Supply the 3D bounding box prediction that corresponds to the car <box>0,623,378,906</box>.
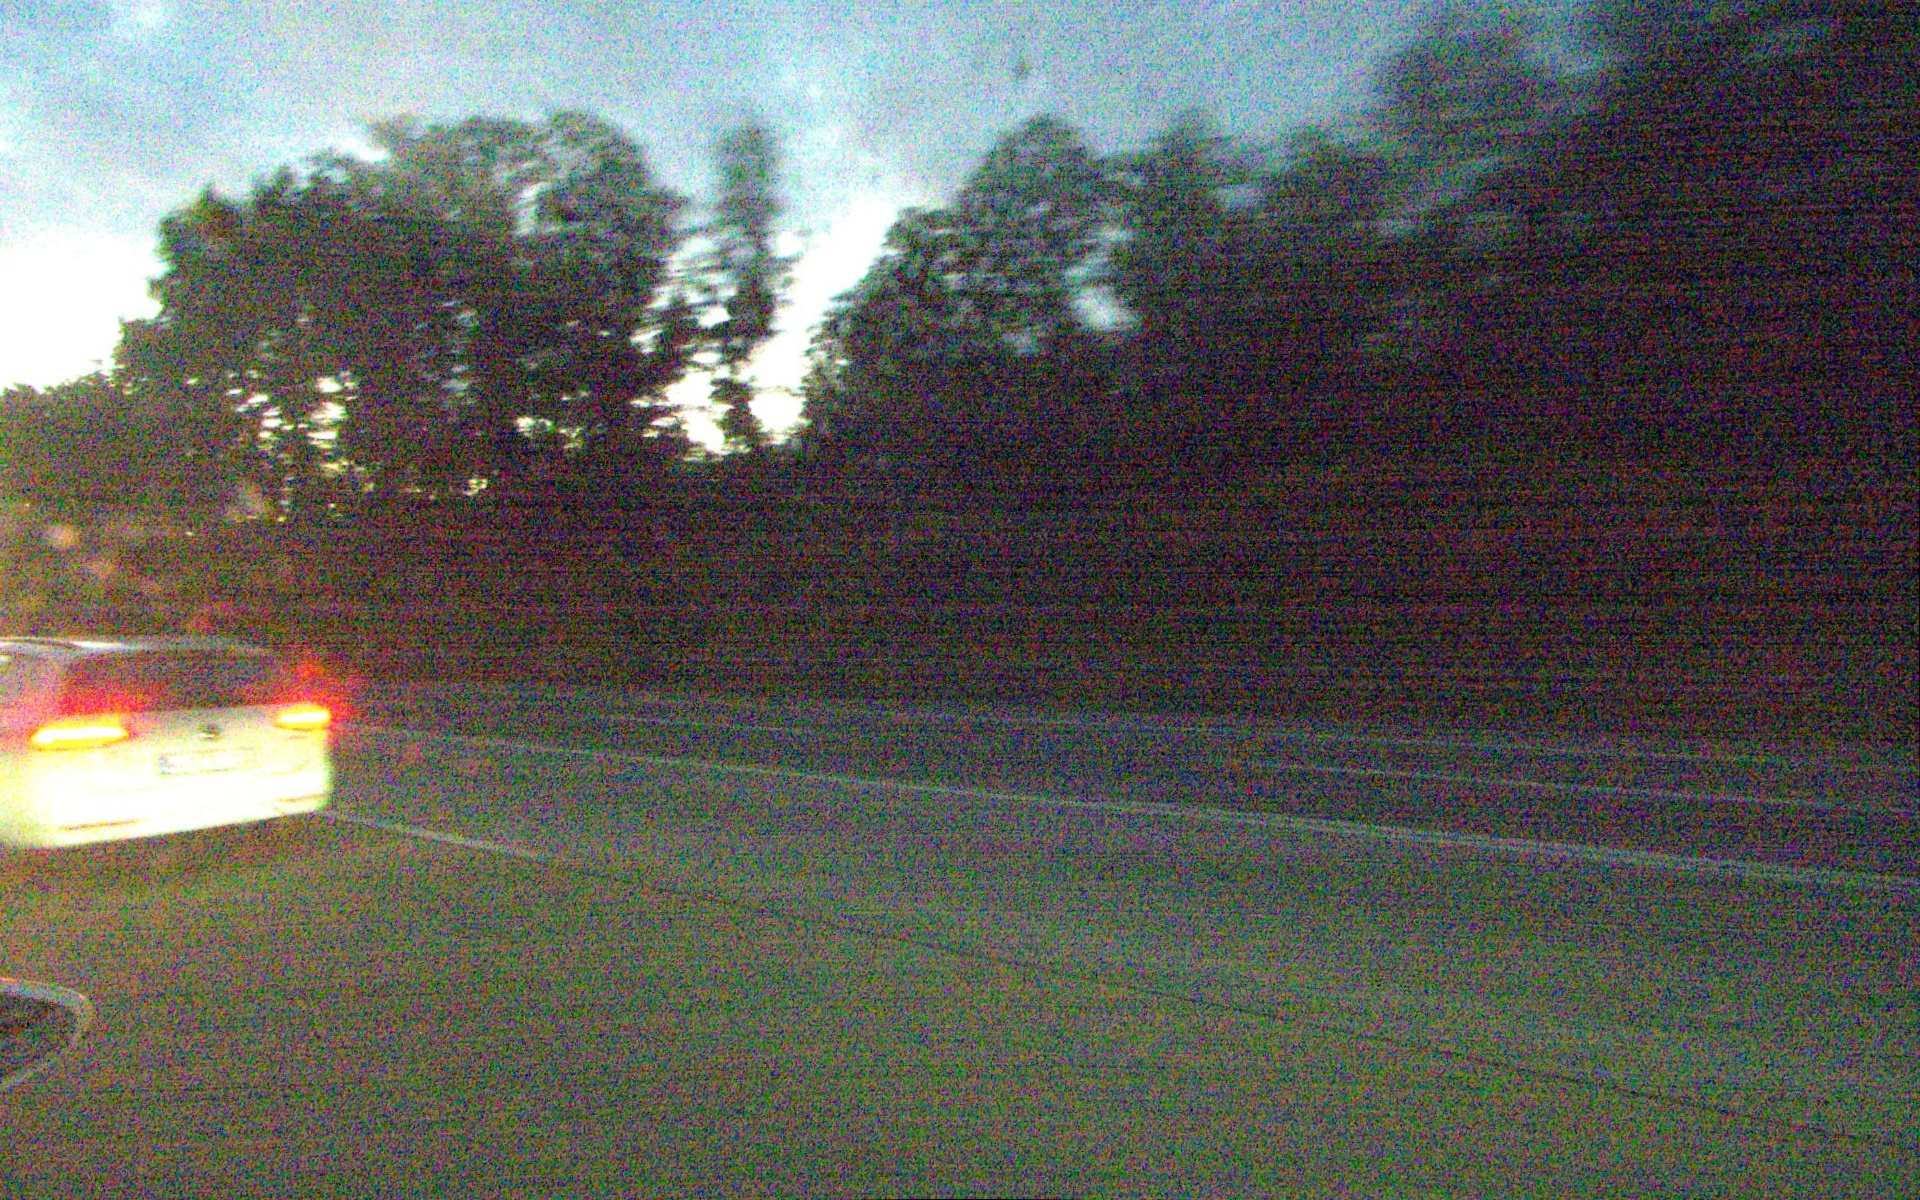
[{"bbox_3d":[-6.612,0.932,7.509,5.059,1.485,1.805,0,-1,33],"label":"car"}]
